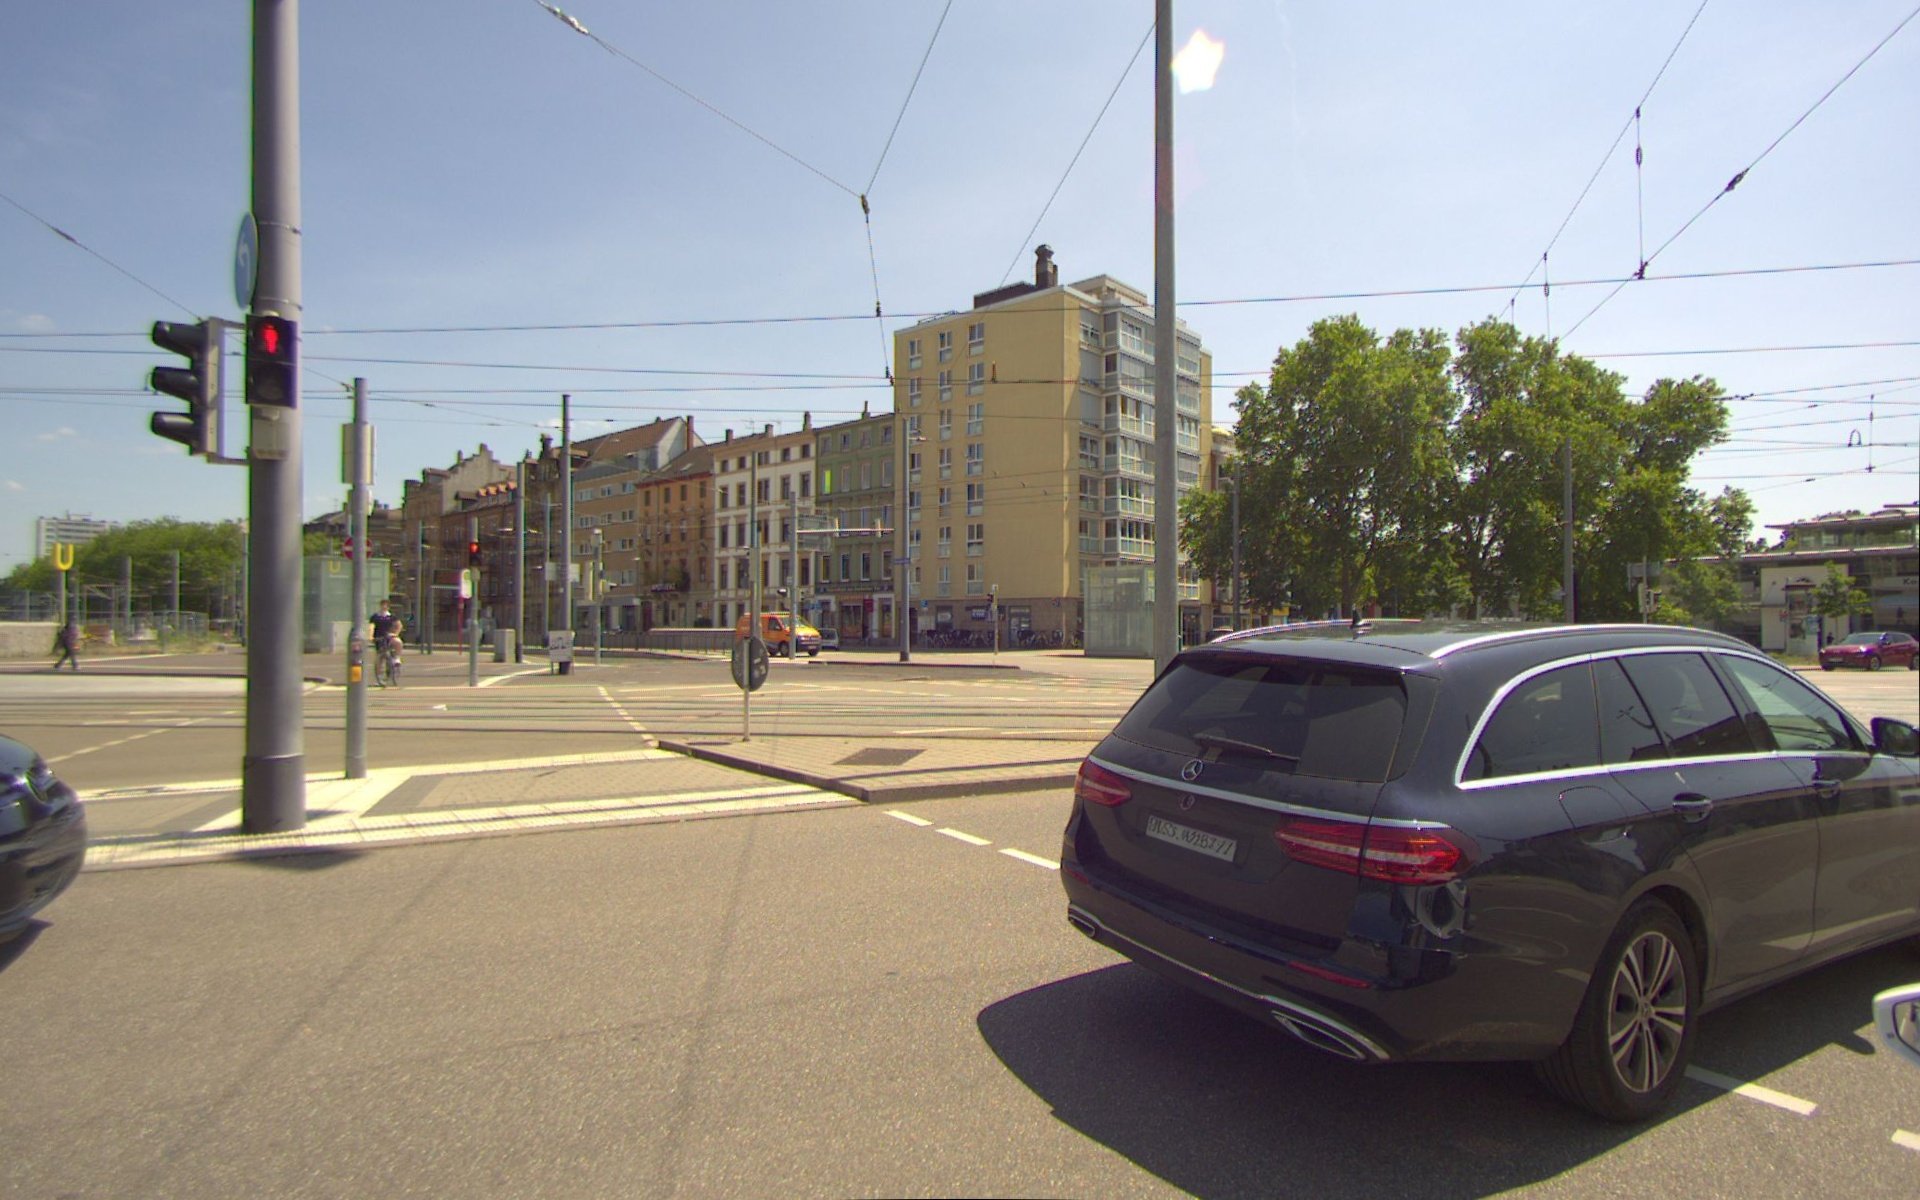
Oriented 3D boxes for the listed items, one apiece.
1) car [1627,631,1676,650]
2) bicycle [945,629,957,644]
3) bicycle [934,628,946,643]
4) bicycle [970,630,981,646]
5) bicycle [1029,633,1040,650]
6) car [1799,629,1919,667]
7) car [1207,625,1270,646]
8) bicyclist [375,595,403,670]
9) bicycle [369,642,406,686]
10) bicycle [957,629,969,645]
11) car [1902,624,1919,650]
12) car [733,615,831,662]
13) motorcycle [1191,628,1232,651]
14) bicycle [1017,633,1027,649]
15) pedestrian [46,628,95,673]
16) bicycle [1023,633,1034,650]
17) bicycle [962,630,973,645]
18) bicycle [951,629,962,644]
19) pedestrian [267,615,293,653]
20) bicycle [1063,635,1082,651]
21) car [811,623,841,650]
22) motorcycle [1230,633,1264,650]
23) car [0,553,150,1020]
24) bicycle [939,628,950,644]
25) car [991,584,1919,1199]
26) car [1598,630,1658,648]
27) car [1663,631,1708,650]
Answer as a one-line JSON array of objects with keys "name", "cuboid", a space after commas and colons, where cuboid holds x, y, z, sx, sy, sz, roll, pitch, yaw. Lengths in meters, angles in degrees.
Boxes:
[{"name": "car", "cuboid": [58.080, 3.367, 84.352, 4.277, 1.530, 1.758, 1, -2, -31]}, {"name": "bicycle", "cuboid": [-0.612, 2.498, 69.119, 0.424, 1.040, 1.445, 0, -1, 14]}, {"name": "bicycle", "cuboid": [-1.403, 2.475, 69.871, 0.424, 1.040, 1.445, 0, -1, 14]}, {"name": "bicycle", "cuboid": [1.062, 2.549, 67.909, 0.424, 1.040, 1.445, 0, -1, 14]}, {"name": "bicycle", "cuboid": [4.769, 2.655, 64.270, 0.424, 1.040, 1.445, 0, -1, 14]}, {"name": "car", "cuboid": [37.415, 1.956, 41.510, 4.770, 1.484, 1.992, 1, -2, -18]}, {"name": "car", "cuboid": [20.026, 2.550, 72.206, 3.933, 1.439, 1.994, -1, -2, 35]}, {"name": "bicyclist", "cuboid": [-12.336, 0.685, 21.724, 0.433, 1.549, 1.244, 2, 0, -28]}, {"name": "bicycle", "cuboid": [-12.339, 1.358, 21.694, 0.620, 0.866, 1.886, 1, -2, -28]}, {"name": "bicycle", "cuboid": [0.209, 2.523, 68.539, 0.424, 1.040, 1.445, 0, -1, 14]}, {"name": "car", "cuboid": [65.900, 2.572, 68.103, 3.955, 1.729, 1.911, 2, 0, -31]}, {"name": "car", "cuboid": [-8.434, 1.800, 47.407, 4.799, 2.084, 1.990, -1, -2, 41]}, {"name": "motorcycle", "cuboid": [13.982, 2.193, 55.979, 0.949, 1.238, 2.802, 1, -2, -16]}, {"name": "bicycle", "cuboid": [4.009, 2.632, 64.823, 0.424, 1.040, 1.445, 0, -1, 14]}, {"name": "pedestrian", "cuboid": [-26.955, 1.522, 30.440, 0.978, 1.352, 0.527, 0, -1, 0]}, {"name": "bicycle", "cuboid": [4.392, 2.644, 64.523, 0.424, 1.040, 1.445, 0, -1, 14]}, {"name": "bicycle", "cuboid": [0.537, 2.532, 68.152, 0.424, 1.040, 1.445, 0, -1, 14]}, {"name": "bicycle", "cuboid": [-0.241, 2.509, 68.822, 0.424, 1.040, 1.445, 0, -1, 14]}, {"name": "pedestrian", "cuboid": [-32.792, 1.625, 48.420, 1.113, 1.837, 0.677, -1, -2, 36]}, {"name": "bicycle", "cuboid": [7.190, 2.740, 64.076, 0.426, 1.040, 1.436, -1, -2, 42]}, {"name": "car", "cuboid": [-8.746, 2.372, 65.958, 1.804, 1.773, 3.997, 0, -1, -6]}, {"name": "motorcycle", "cuboid": [17.133, 2.466, 59.901, 1.886, 0.974, 0.525, -1, -1, 29]}, {"name": "car", "cuboid": [-5.245, 0.598, 3.325, 3.691, 1.597, 1.736, 1, 0, -29]}, {"name": "bicycle", "cuboid": [-1.051, 2.486, 69.542, 0.424, 1.040, 1.445, 0, -1, 14]}, {"name": "car", "cuboid": [2.628, 0.836, 4.290, 4.745, 1.662, 1.790, 1, 0, -29]}, {"name": "car", "cuboid": [60.336, 3.495, 90.812, 4.244, 1.530, 1.772, 0, -2, 24]}, {"name": "car", "cuboid": [59.180, 3.301, 81.912, 4.286, 1.530, 1.755, 1, -2, -37]}]
